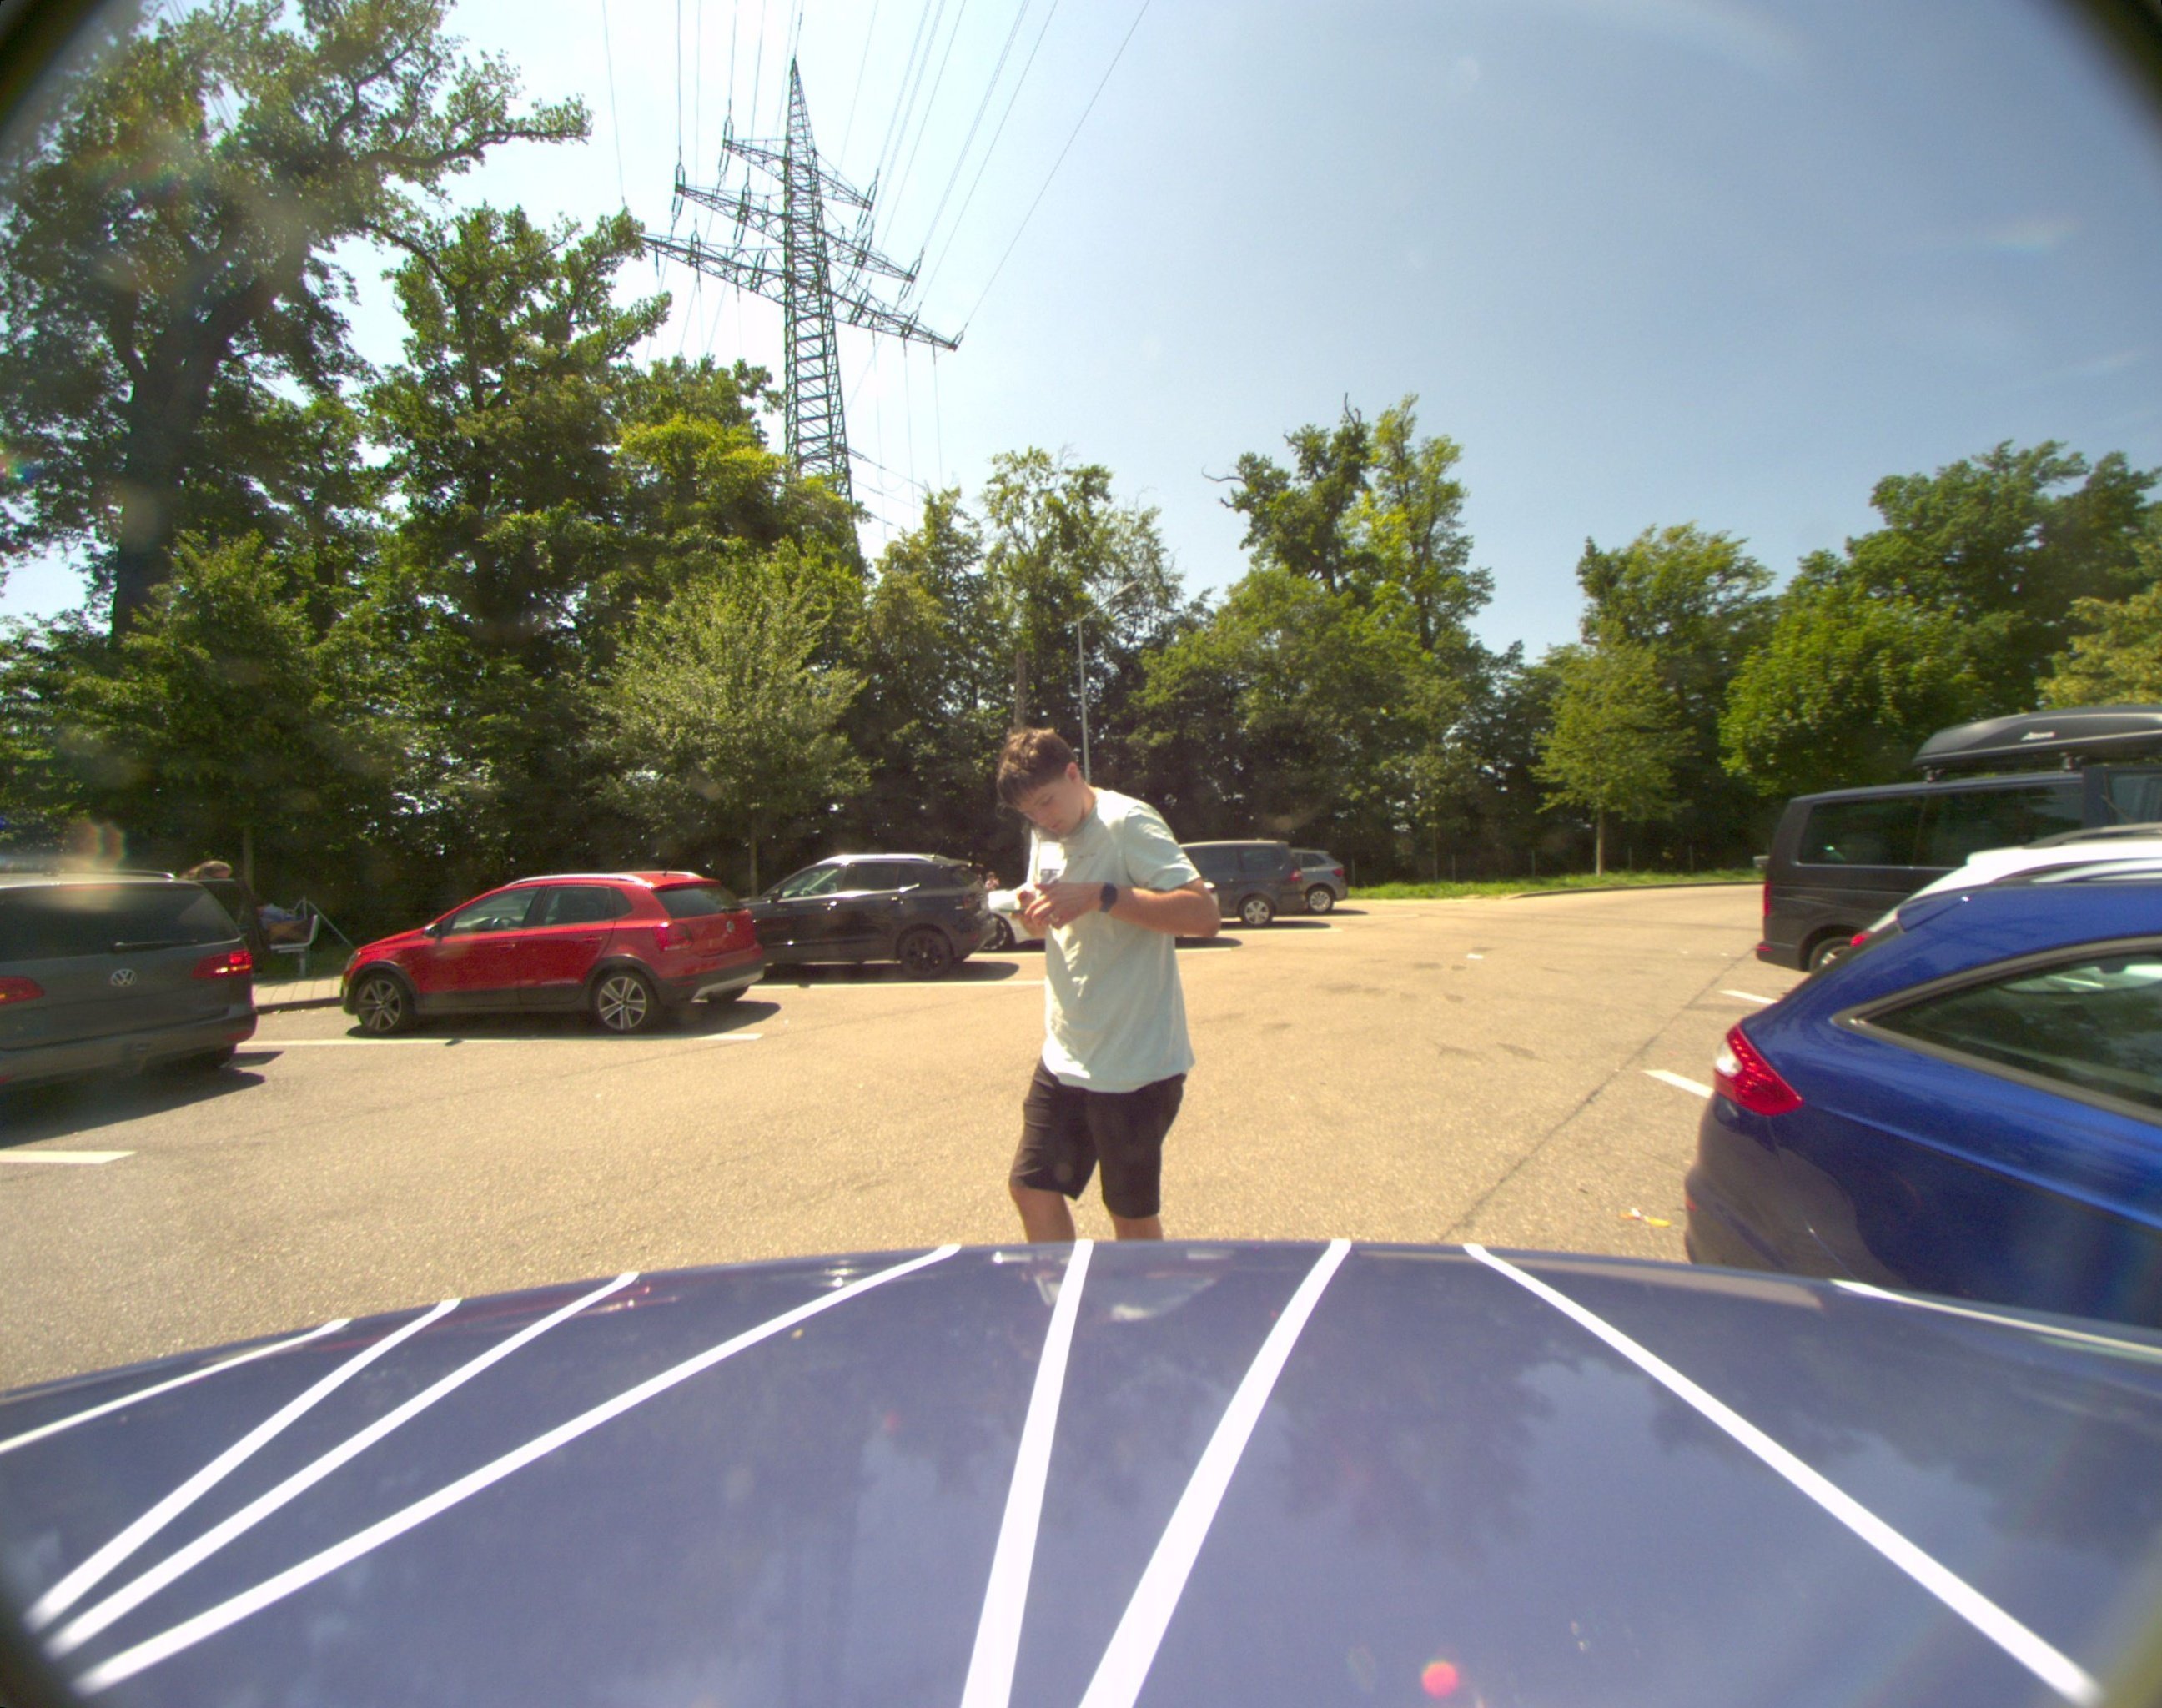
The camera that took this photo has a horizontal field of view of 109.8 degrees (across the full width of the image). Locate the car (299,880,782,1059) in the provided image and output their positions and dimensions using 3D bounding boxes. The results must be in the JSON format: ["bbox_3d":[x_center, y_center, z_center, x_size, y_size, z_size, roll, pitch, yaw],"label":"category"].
[{"bbox_3d":[-5.254,1.067,7.645,3.785,1.457,1.722,-1,1,9],"label":"car"}]

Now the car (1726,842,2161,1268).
[{"bbox_3d":[4.858,0.722,2.279,1.741,1.524,4.642,-3,-1,-2],"label":"car"}]

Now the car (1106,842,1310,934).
[{"bbox_3d":[2.573,0.665,15.447,3.818,1.714,1.722,-1,1,12],"label":"car"}]

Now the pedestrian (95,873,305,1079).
[{"bbox_3d":[-7.862,1.033,6.841,0.734,1.672,0.919,-2,1,-5],"label":"pedestrian"}]

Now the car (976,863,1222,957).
[{"bbox_3d":[0.349,0.898,12.722,3.819,1.377,1.722,-1,1,6],"label":"car"}]

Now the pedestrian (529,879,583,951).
[{"bbox_3d":[-10.025,1.140,14.506,0.782,1.287,0.670,-1,2,45],"label":"pedestrian"}]

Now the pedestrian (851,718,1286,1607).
[{"bbox_3d":[0.017,0.650,1.944,0.889,1.831,0.622,-2,1,12],"label":"pedestrian"}]

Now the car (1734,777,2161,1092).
[{"bbox_3d":[7.306,0.433,4.908,1.961,1.858,4.642,-3,-1,-3],"label":"car"}]

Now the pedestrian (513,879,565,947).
[{"bbox_3d":[-10.917,1.166,15.305,0.782,1.287,0.670,-1,2,45],"label":"pedestrian"}]

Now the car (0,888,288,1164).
[{"bbox_3d":[-8.306,1.108,5.436,3.985,1.572,1.749,-1,1,12],"label":"car"}]

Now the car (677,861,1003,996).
[{"bbox_3d":[-3.081,0.937,10.256,3.787,1.564,1.721,-1,1,2],"label":"car"}]

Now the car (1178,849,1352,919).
[{"bbox_3d":[4.325,0.687,18.150,3.818,1.530,1.722,-1,1,12],"label":"car"}]
